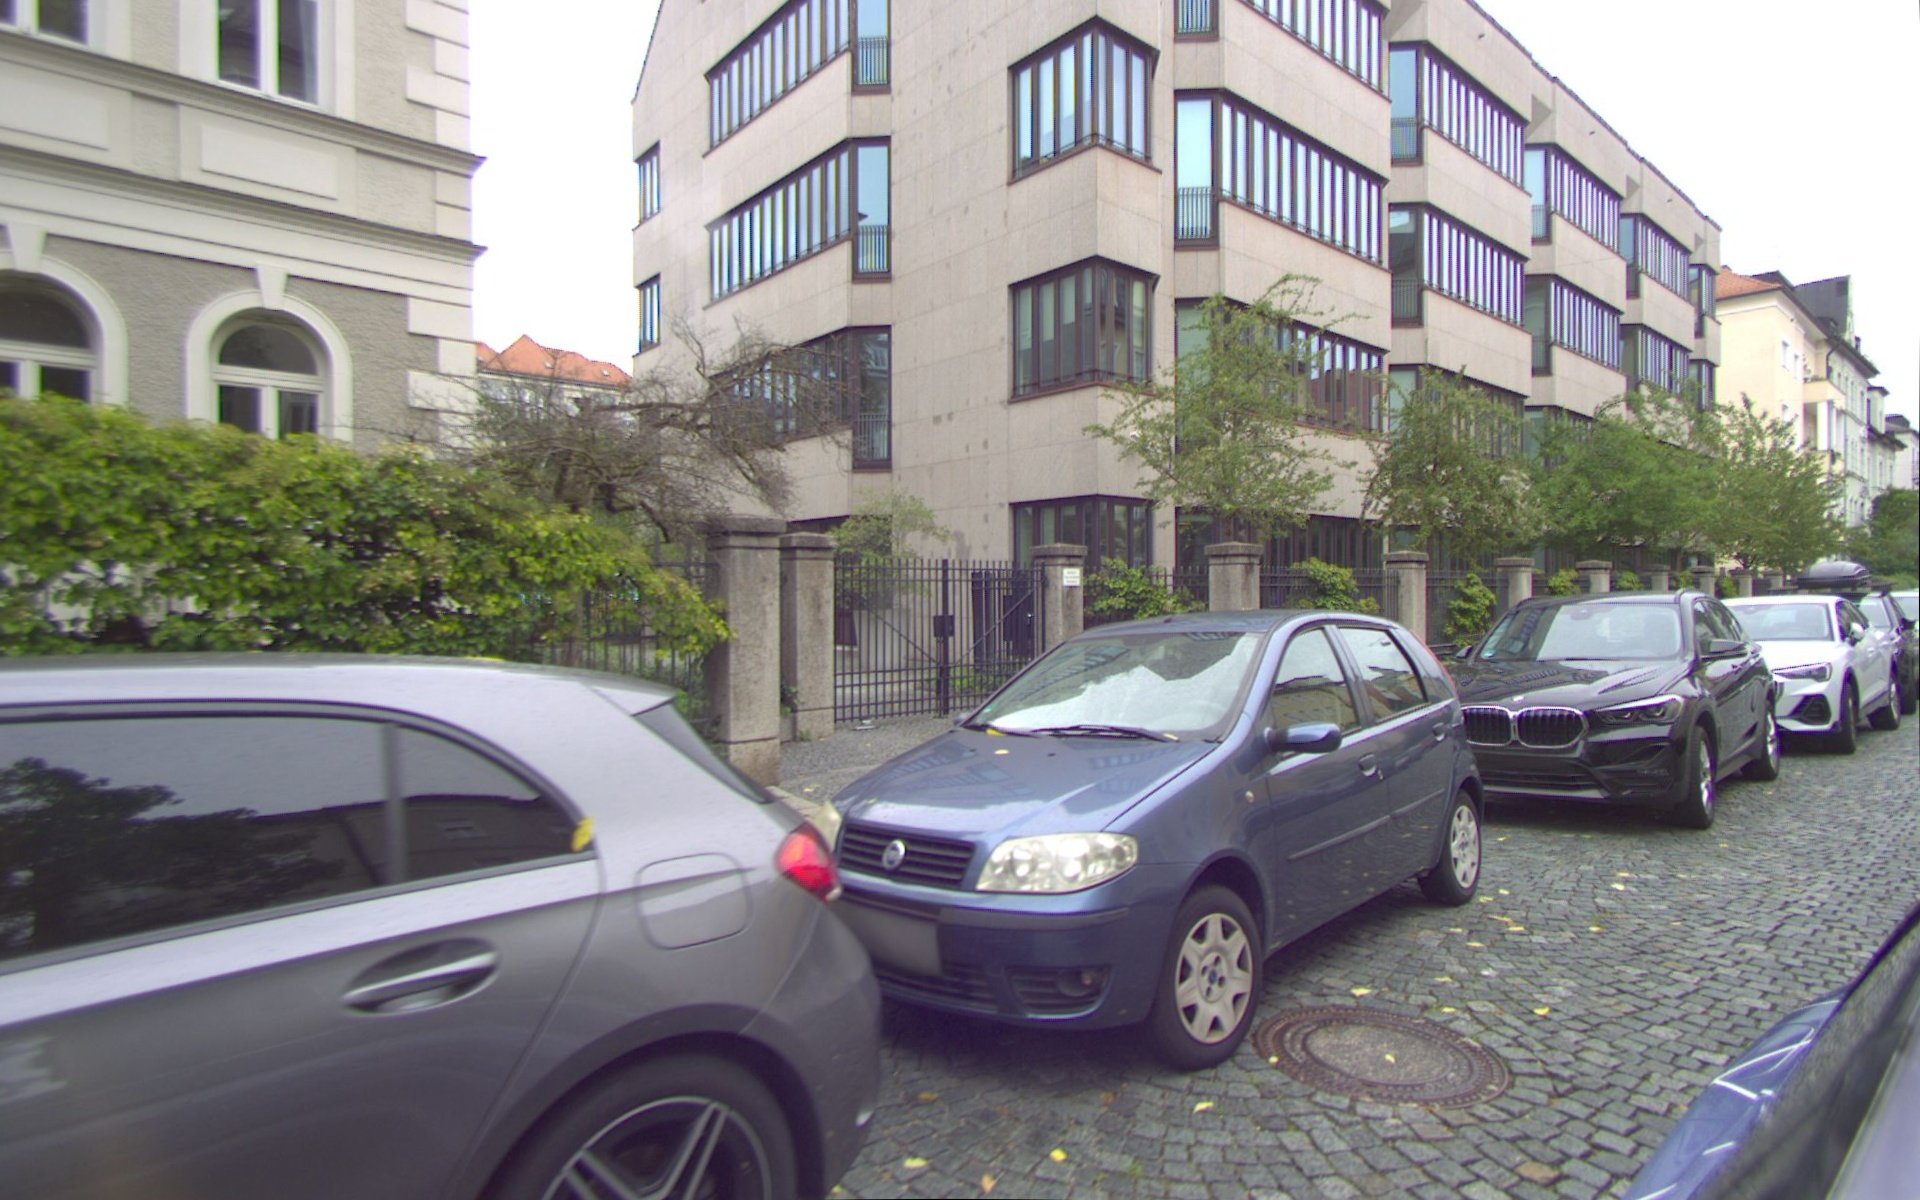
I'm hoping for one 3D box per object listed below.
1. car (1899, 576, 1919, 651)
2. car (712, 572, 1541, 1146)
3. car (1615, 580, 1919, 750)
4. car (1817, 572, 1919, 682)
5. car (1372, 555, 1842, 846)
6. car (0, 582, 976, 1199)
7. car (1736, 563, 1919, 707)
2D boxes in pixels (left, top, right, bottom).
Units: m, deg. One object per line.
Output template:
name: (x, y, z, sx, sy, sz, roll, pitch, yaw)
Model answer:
car: (25.274, 0.269, 25.562, 4.432, 1.820, 1.790, -1, -3, -42)
car: (1.083, 0.679, 4.619, 1.694, 1.459, 3.996, -4, -2, 45)
car: (9.157, 0.609, 11.177, 4.533, 1.510, 1.877, 0, -2, -39)
car: (16.931, 0.409, 17.858, 4.804, 1.757, 1.876, -1, -2, -39)
car: (5.353, 0.595, 8.104, 4.576, 1.691, 1.876, -1, -2, -41)
car: (-2.105, 0.766, 1.491, 4.195, 1.491, 1.715, -1, -2, -42)
car: (12.883, 0.456, 14.584, 4.668, 1.757, 1.874, -1, -3, -43)
